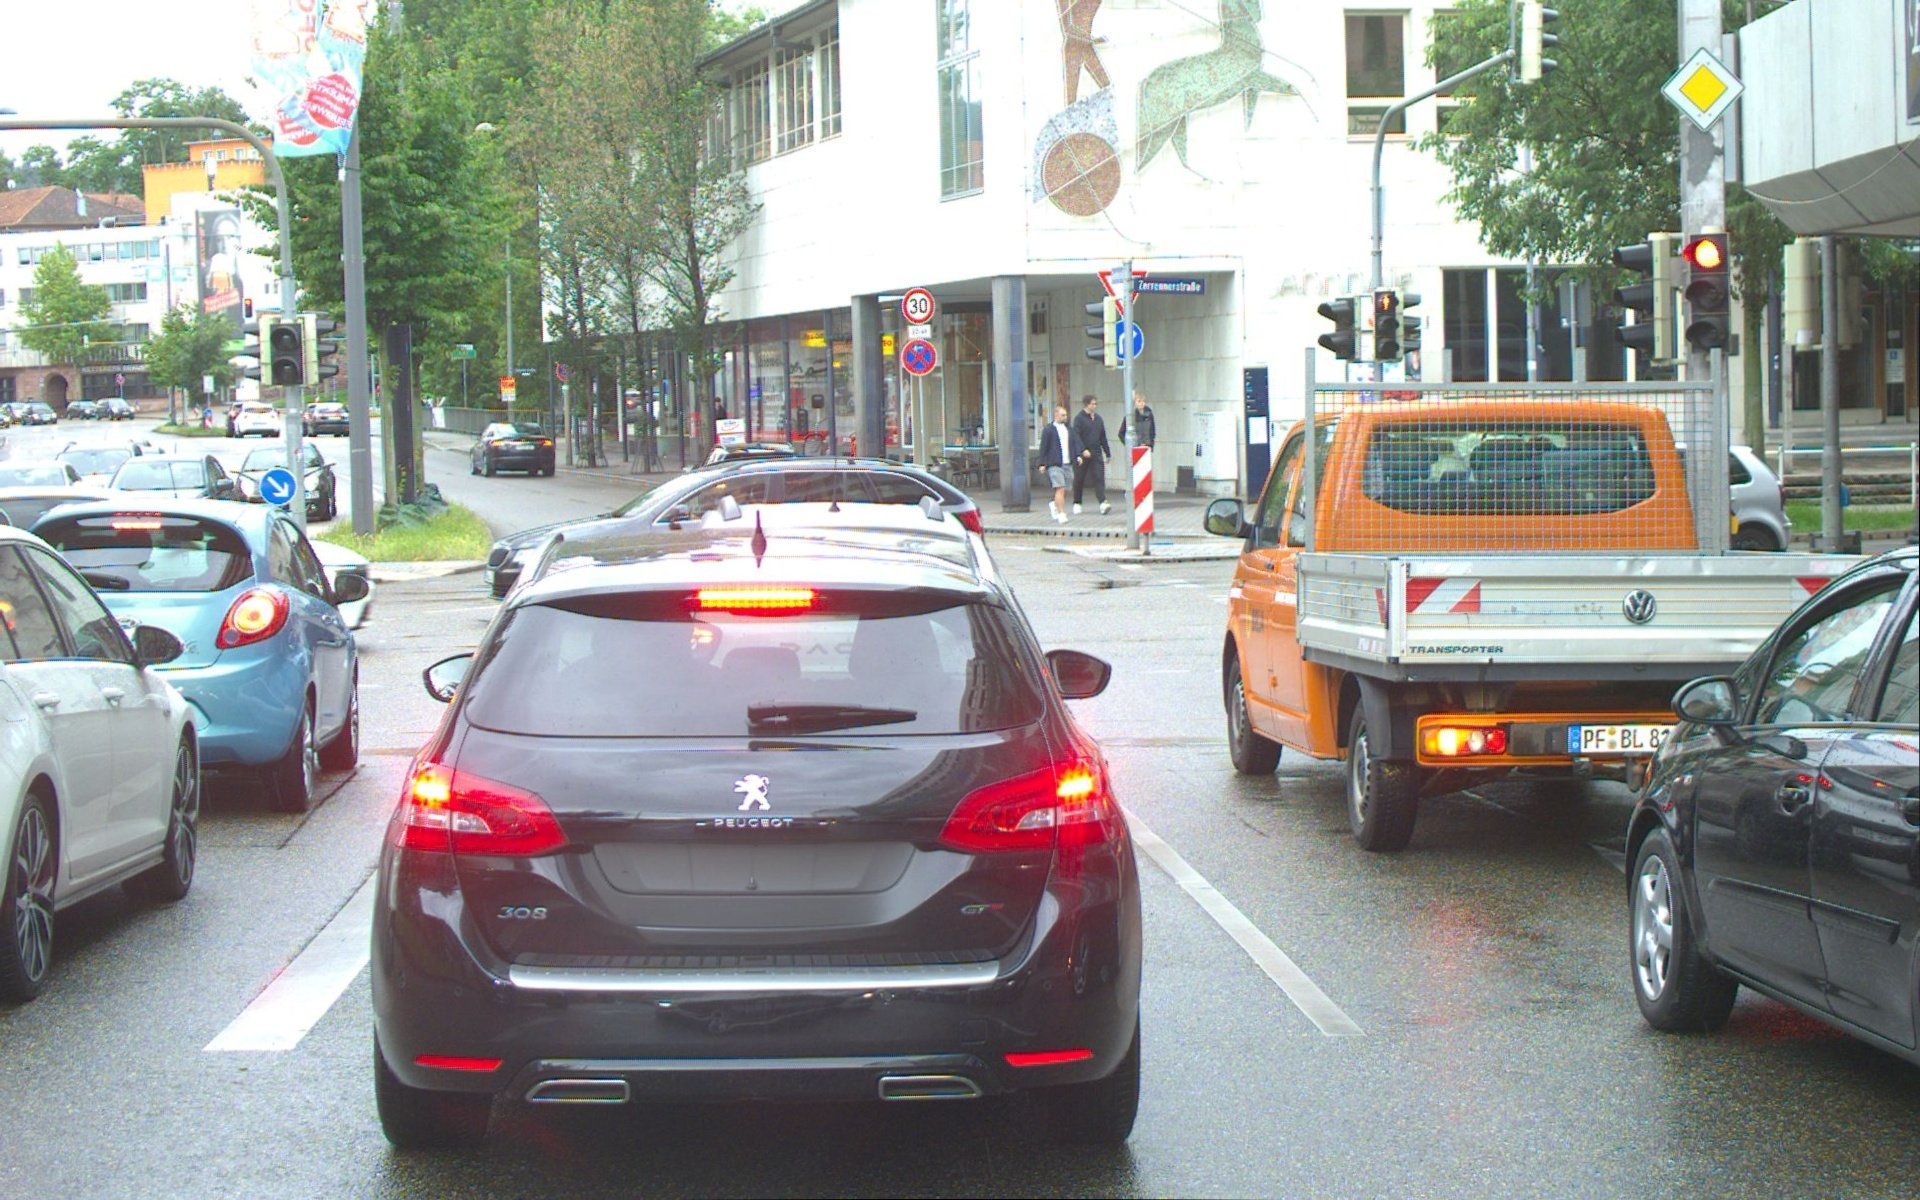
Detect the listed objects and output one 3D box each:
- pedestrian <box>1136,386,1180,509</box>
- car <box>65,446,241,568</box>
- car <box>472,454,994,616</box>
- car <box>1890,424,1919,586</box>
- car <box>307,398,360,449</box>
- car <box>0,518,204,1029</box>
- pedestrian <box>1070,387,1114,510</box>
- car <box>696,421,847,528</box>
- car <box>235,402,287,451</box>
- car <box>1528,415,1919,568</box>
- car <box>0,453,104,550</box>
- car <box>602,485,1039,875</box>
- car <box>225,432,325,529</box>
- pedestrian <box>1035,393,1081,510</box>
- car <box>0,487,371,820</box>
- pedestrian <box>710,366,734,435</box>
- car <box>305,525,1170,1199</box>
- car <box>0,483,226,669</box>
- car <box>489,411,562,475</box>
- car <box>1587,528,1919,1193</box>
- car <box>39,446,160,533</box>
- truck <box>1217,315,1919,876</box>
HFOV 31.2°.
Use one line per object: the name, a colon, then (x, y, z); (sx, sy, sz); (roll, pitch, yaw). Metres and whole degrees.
pedestrian: (3.100, -2.382, 53.741); (0.637, 1.891, 0.733); (0, 0, 6)
car: (-11.204, -1.263, 47.954); (1.744, 1.574, 4.000); (1, 0, -4)
car: (-2.182, -0.629, 32.831); (4.721, 1.481, 1.639); (0, 2, -16)
car: (11.334, -0.963, 33.137); (4.226, 1.559, 1.705); (-2, 2, -11)
car: (-26.843, -7.545, 147.226); (1.705, 1.929, 4.001); (1, 0, -18)
car: (-3.729, 0.453, 11.478); (1.777, 1.424, 3.843); (0, 2, -3)
pedestrian: (2.071, -2.375, 53.909); (0.637, 1.891, 0.733); (0, 0, 6)
car: (-2.896, -1.996, 53.738); (1.787, 1.449, 4.507); (-2, 4, 4)
car: (-29.684, -7.350, 145.966); (1.705, 1.875, 4.001); (1, 0, -18)
car: (8.034, -1.095, 35.629); (3.894, 1.481, 1.624); (1, 0, -12)
car: (-14.708, -1.593, 54.754); (1.632, 1.481, 3.611); (0, 2, -7)
car: (-0.574, 0.252, 15.341); (1.696, 1.481, 3.794); (1, 2, -1)
car: (-12.586, -2.168, 63.260); (1.744, 1.634, 4.001); (1, 0, -11)
pedestrian: (1.496, -2.252, 52.404); (0.637, 1.752, 0.733); (0, 0, 6)
car: (-3.958, 0.190, 17.449); (1.632, 1.481, 3.610); (0, 2, -5)
pedestrian: (-6.132, -5.151, 88.621); (0.468, 1.742, 0.541); (1, 0, -21)
car: (-0.547, 0.543, 9.030); (1.777, 1.424, 3.843); (0, 2, -3)
car: (-8.276, -0.218, 28.328); (4.291, 1.481, 1.639); (0, 2, -14)
car: (-11.744, -4.212, 92.782); (1.724, 1.485, 4.734); (1, 0, -10)
car: (2.852, 0.559, 8.655); (1.616, 1.424, 3.843); (0, 2, -3)
car: (-15.277, -1.980, 61.143); (1.632, 1.481, 3.611); (0, 2, -7)
truck: (2.584, -0.114, 15.875); (2.177, 2.165, 5.021); (1, 2, -3)
